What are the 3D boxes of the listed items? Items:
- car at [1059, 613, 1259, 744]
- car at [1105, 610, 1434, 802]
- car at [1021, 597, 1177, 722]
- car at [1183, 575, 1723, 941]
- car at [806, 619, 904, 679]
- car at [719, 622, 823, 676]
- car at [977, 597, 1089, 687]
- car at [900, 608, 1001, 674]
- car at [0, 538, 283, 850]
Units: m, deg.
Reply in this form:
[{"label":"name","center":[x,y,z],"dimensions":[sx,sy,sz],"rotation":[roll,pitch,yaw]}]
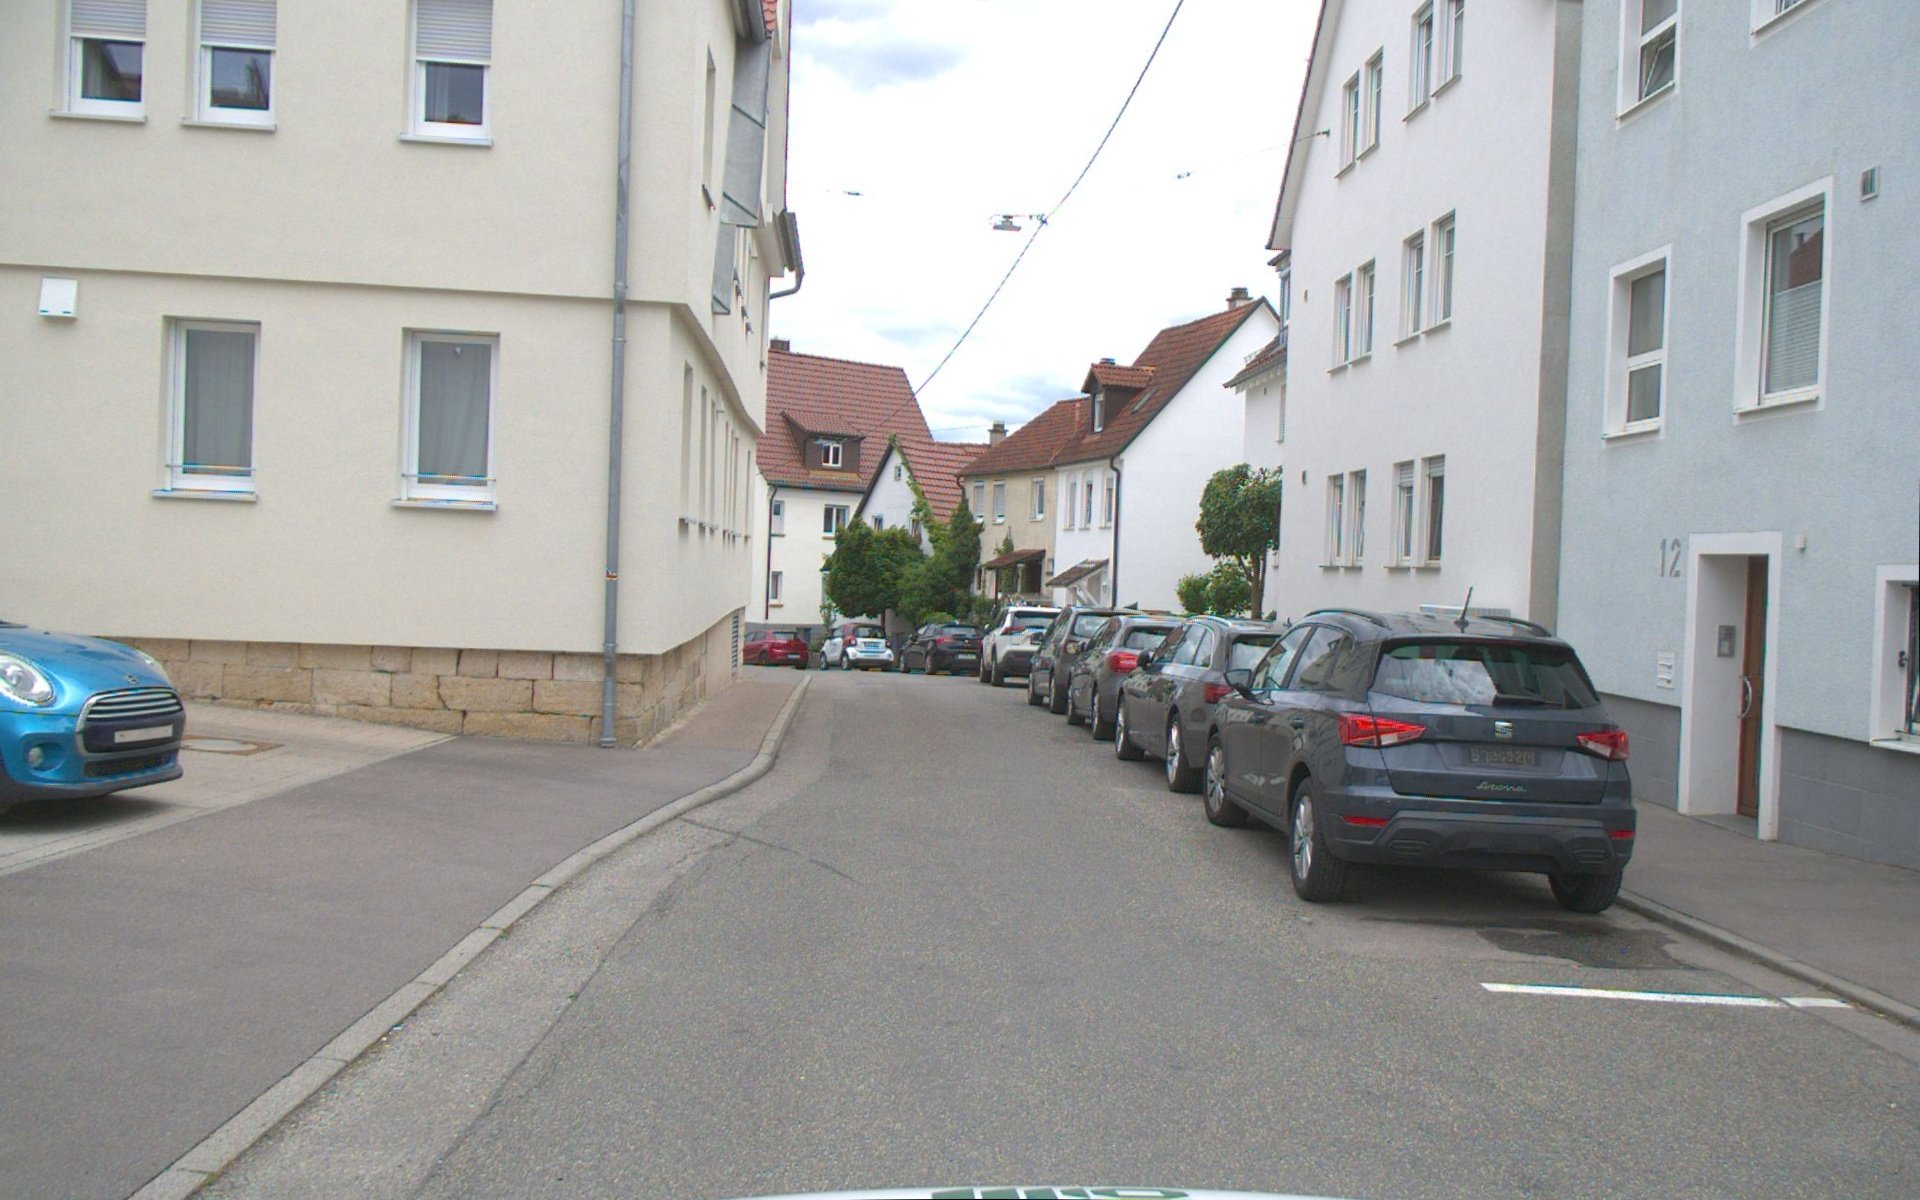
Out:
[{"label":"car","center":[2.310,0.899,20.202],"dimensions":[1.761,1.376,4.072],"rotation":[2,-1,-2]},{"label":"car","center":[2.560,0.825,14.868],"dimensions":[1.880,1.434,4.653],"rotation":[0,0,-3]},{"label":"car","center":[2.043,0.875,25.412],"dimensions":[1.702,1.638,3.997],"rotation":[5,-1,-4]},{"label":"car","center":[2.661,0.741,10.146],"dimensions":[1.718,1.656,4.532],"rotation":[3,0,-3]},{"label":"car","center":[-3.531,1.608,55.071],"dimensions":[1.937,1.743,3.970],"rotation":[2,0,-24]},{"label":"car","center":[-6.920,1.796,60.195],"dimensions":[1.979,1.713,3.948],"rotation":[-4,0,-36]},{"label":"car","center":[1.490,0.880,35.425],"dimensions":[1.836,1.743,4.143],"rotation":[2,-1,-5]},{"label":"car","center":[-0.311,1.177,46.107],"dimensions":[1.960,1.743,3.985],"rotation":[1,-2,-14]},{"label":"car","center":[-5.970,0.335,8.888],"dimensions":[3.654,1.436,2.121],"rotation":[5,-1,2]}]
